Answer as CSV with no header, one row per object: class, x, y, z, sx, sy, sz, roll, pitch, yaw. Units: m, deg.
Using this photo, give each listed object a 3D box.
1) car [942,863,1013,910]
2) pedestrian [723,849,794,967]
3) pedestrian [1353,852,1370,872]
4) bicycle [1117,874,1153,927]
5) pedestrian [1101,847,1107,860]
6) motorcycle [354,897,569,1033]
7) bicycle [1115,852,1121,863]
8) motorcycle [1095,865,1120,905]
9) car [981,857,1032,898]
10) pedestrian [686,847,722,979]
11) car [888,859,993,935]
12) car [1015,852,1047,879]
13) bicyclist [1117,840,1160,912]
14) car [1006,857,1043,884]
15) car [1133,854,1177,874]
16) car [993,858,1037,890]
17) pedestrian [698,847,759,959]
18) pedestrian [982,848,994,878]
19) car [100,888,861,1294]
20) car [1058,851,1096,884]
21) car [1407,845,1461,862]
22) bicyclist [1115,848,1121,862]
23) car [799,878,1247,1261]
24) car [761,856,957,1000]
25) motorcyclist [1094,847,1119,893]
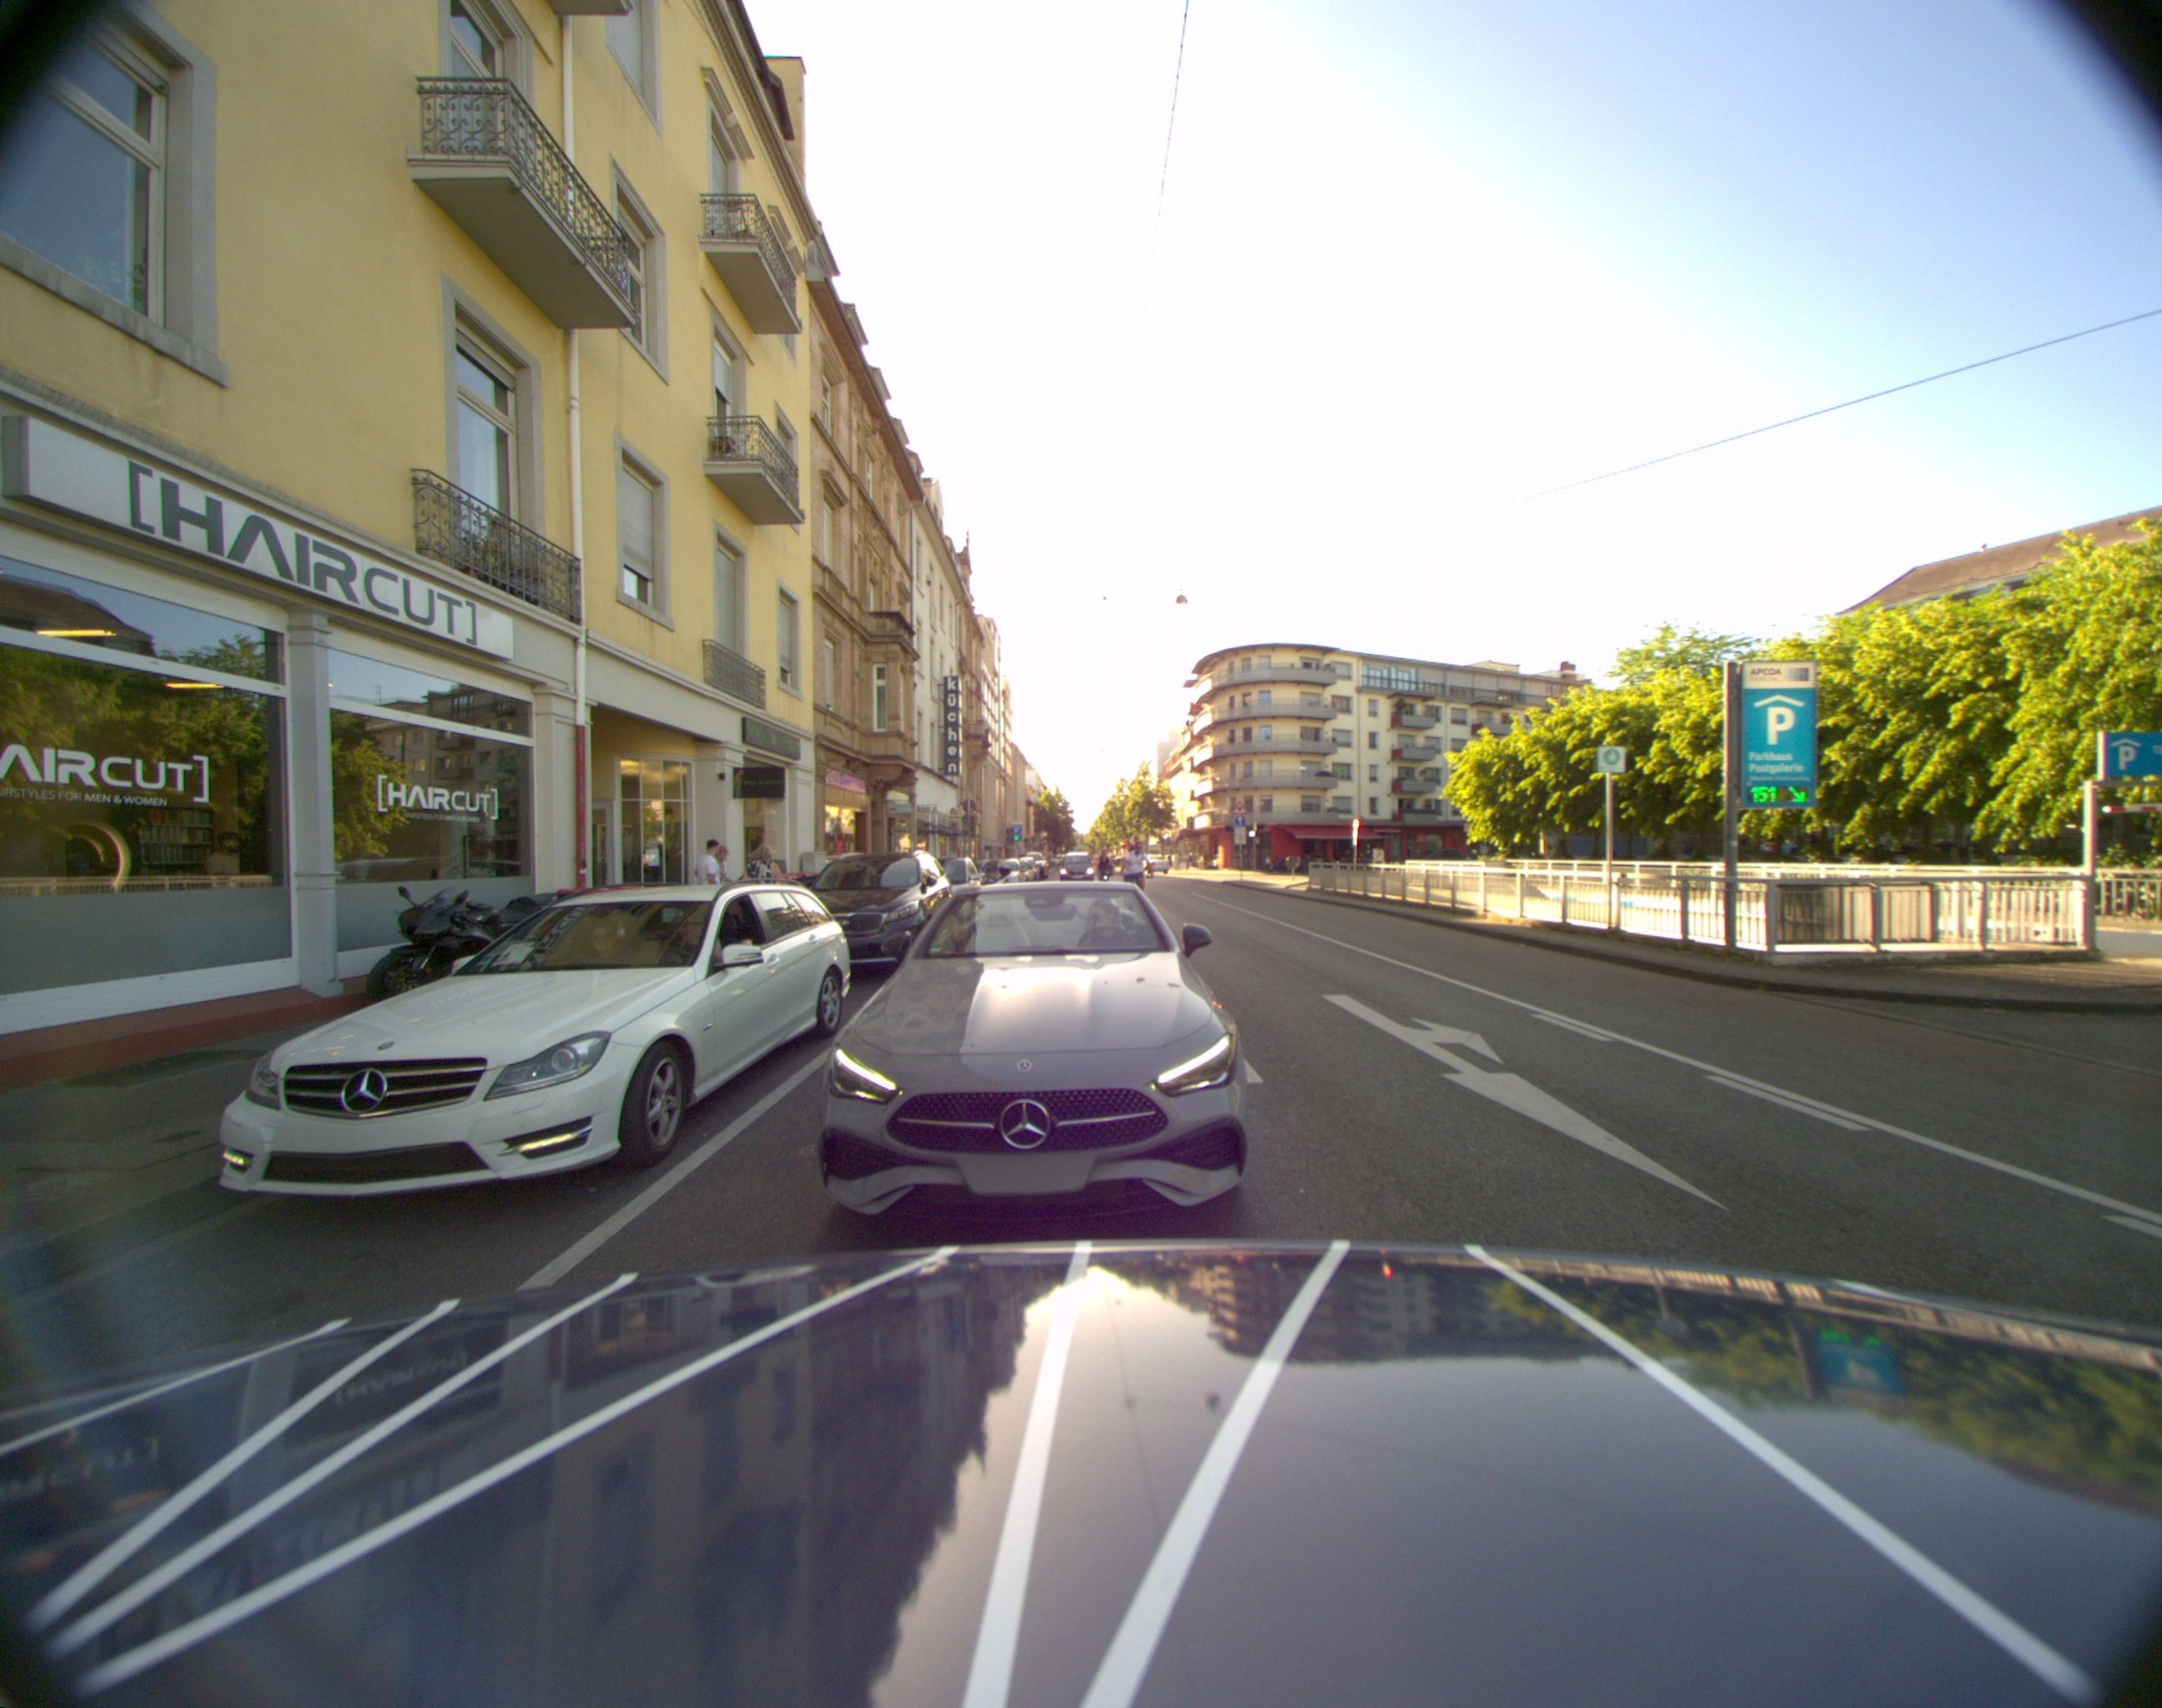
car,-3.381,1.027,25.486,1.802,1.259,4.085,-2,1,-1
pedestrian,-4.699,0.771,11.108,0.719,1.644,0.606,2,-1,1
pedestrian,21.855,0.623,59.279,0.863,1.586,0.887,-3,1,-38
bicycle,1.231,1.037,17.612,0.641,1.078,2.061,-1,0,-1
pedestrian,3.494,-0.081,114.643,0.860,2.002,0.889,-2,1,1
motorcycle,-6.195,1.047,7.764,0.567,1.072,1.954,2,1,1
bicycle,4.254,0.400,87.231,0.527,1.163,1.594,-2,1,6
motorcycle,0.828,0.969,24.376,0.720,1.177,1.906,-2,1,1
car,-2.961,0.904,30.746,1.660,1.423,4.085,-2,1,-1
pedestrian,-5.831,0.882,11.768,0.374,1.971,0.693,-1,1,-18
car,-3.294,0.945,18.560,1.802,1.518,4.085,-2,1,-1
car,-3.085,0.700,47.471,1.725,1.506,4.004,-2,1,-1
bicyclist,1.320,0.500,17.709,0.885,1.625,0.768,-2,1,-1
car,-3.032,0.861,41.280,1.725,1.332,3.668,-2,1,-1
car,5.612,0.750,58.101,1.826,1.346,4.257,0,1,-17
car,-3.141,0.942,36.876,1.802,1.332,3.838,-2,1,-1
pedestrian,-5.949,0.808,12.839,0.664,1.840,0.575,-2,1,2
pedestrian,-5.745,0.536,47.093,0.574,1.840,0.665,-2,1,1
car,-3.069,1.070,5.275,1.704,1.351,4.378,-2,1,1
car,-0.167,0.678,40.209,1.856,1.543,3.999,-2,1,1
car,29.020,-0.059,62.499,4.004,1.294,1.753,-2,1,-23
bicyclist,4.245,0.096,87.283,0.524,1.539,0.799,-2,1,6
car,-0.267,0.956,5.151,1.802,1.351,3.999,-2,1,-1
car,-3.028,0.900,11.335,1.803,1.629,4.243,-2,1,-3
motorcyclist,0.815,0.506,24.370,0.722,1.438,0.705,-2,1,1
